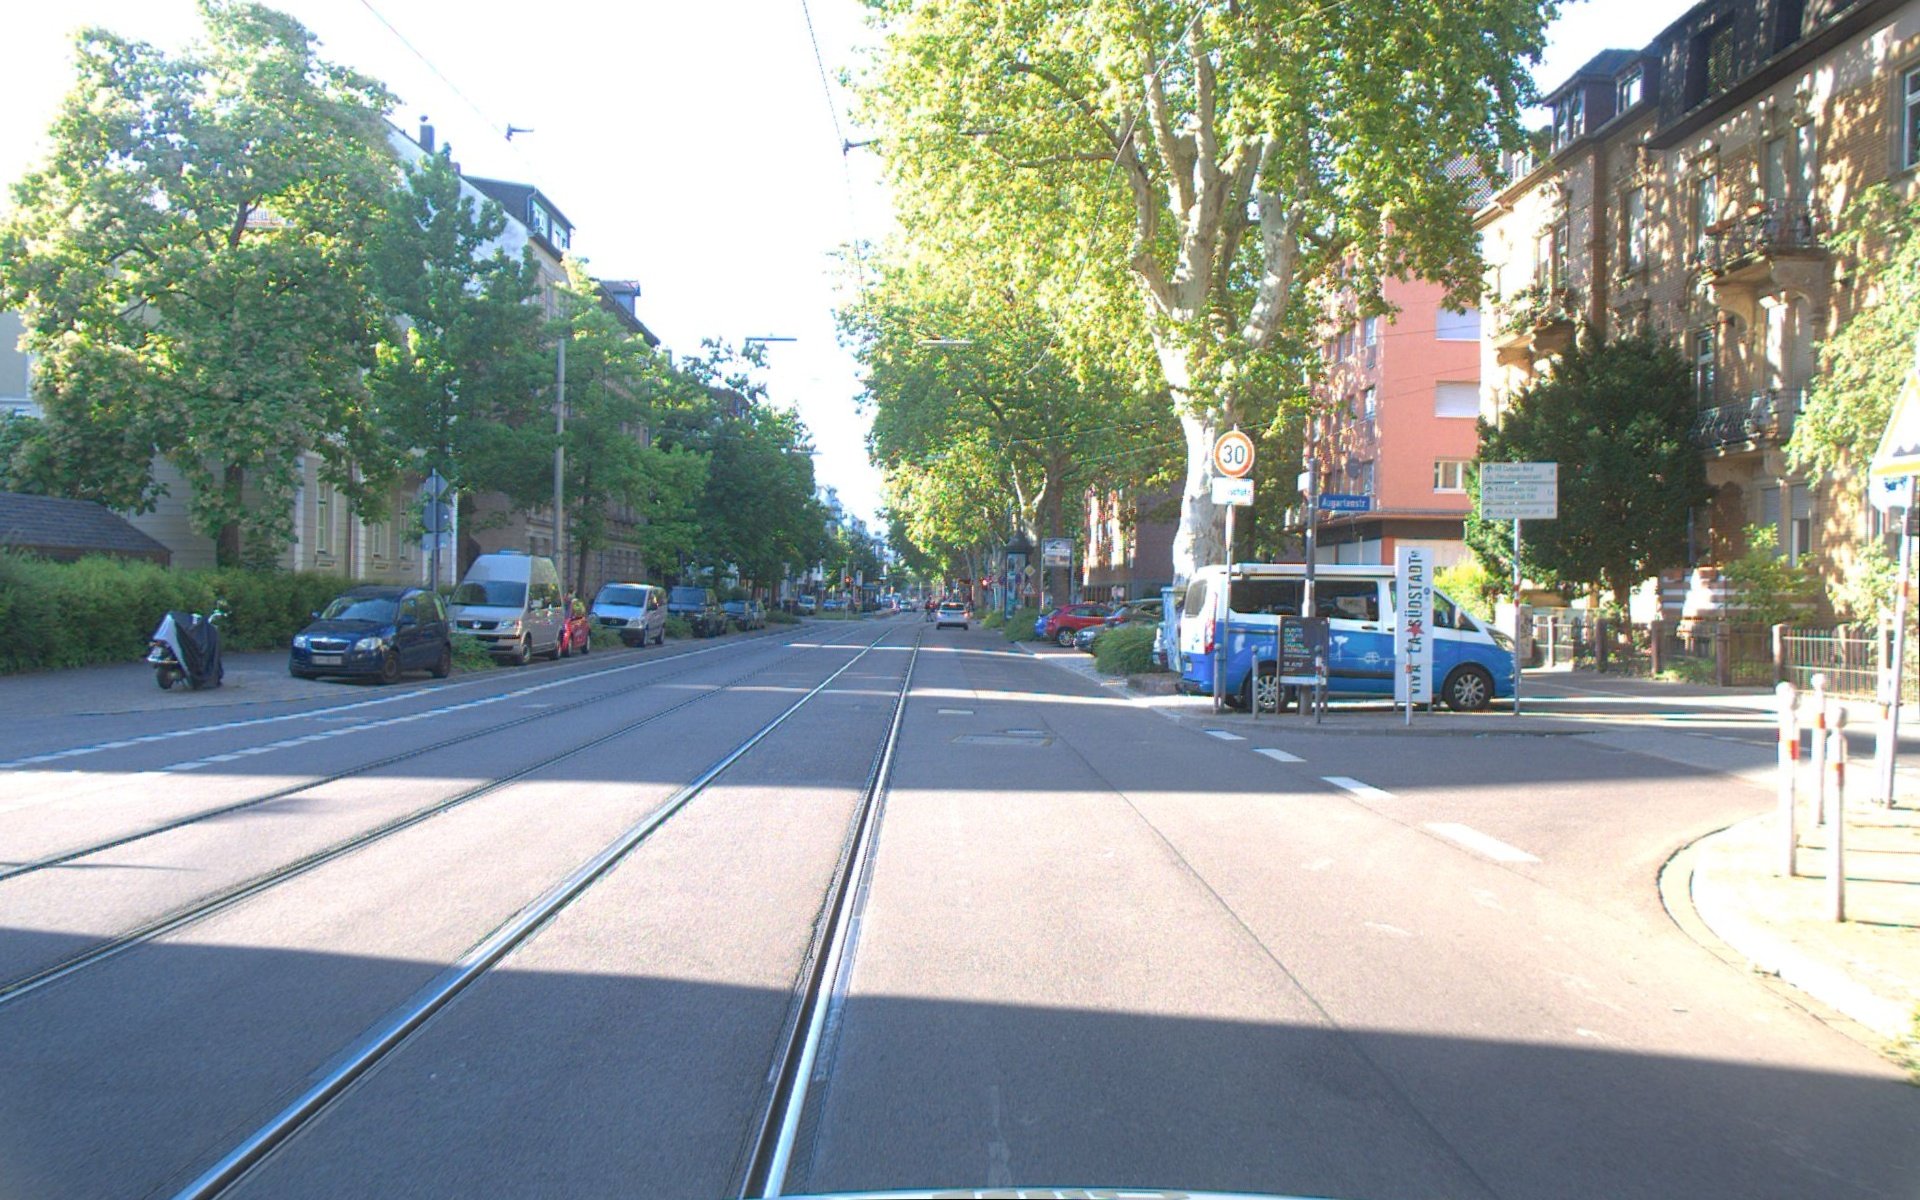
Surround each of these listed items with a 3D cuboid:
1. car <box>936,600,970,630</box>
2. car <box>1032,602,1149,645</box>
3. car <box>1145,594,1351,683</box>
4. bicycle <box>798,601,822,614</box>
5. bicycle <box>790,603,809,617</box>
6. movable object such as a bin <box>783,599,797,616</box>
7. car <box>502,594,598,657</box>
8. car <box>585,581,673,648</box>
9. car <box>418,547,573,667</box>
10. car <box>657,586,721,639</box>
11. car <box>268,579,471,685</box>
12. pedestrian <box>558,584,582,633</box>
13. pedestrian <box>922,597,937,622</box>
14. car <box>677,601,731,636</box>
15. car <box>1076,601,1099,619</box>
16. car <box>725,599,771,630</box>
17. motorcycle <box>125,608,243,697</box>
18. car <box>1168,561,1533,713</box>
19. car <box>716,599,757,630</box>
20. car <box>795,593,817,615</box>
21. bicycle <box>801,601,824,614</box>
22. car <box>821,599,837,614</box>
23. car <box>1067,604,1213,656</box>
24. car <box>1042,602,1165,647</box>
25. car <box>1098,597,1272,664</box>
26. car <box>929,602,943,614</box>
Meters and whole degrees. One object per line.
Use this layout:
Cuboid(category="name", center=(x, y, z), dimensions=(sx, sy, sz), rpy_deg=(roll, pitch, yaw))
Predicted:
Cuboid(category="car", center=(-0.392, 0.772, 88.126), dimensions=(1.752, 1.540, 3.999), rpy_deg=(1, 0, -1))
Cuboid(category="car", center=(4.944, 0.874, 62.378), dimensions=(4.310, 1.570, 1.819), rpy_deg=(1, 0, 6))
Cuboid(category="car", center=(5.674, 0.738, 32.869), dimensions=(3.706, 1.647, 1.789), rpy_deg=(-1, 0, -3))
Cuboid(category="bicycle", center=(-14.550, 0.762, 160.827), dimensions=(2.207, 1.092, 0.636), rpy_deg=(4, 0, 0))
Cuboid(category="bicycle", center=(-13.792, 0.839, 142.049), dimensions=(1.503, 1.093, 0.885), rpy_deg=(4, 0, -2))
Cuboid(category="movable object such as a bin", center=(-14.383, 0.647, 139.964), dimensions=(1.147, 1.372, 0.782), rpy_deg=(4, -1, -6))
Cuboid(category="car", center=(-10.649, 0.627, 43.195), dimensions=(1.651, 1.566, 3.706), rpy_deg=(1, 0, -2))
Cuboid(category="car", center=(-10.579, 0.440, 53.179), dimensions=(1.806, 2.023, 4.987), rpy_deg=(1, 0, 0))
Cuboid(category="car", center=(-10.577, 0.141, 38.131), dimensions=(2.258, 2.552, 5.341), rpy_deg=(1, 0, -3))
Cuboid(category="car", center=(-10.993, 0.484, 67.431), dimensions=(1.953, 2.049, 4.832), rpy_deg=(0, 0, -2))
Cuboid(category="car", center=(-10.291, 0.525, 29.195), dimensions=(1.951, 1.720, 4.262), rpy_deg=(1, 0, 1))
Cuboid(category="pedestrian", center=(-13.727, 0.306, 58.212), dimensions=(0.592, 1.691, 0.947), rpy_deg=(2, 0, 0))
Cuboid(category="pedestrian", center=(-2.226, 0.681, 120.365), dimensions=(0.975, 1.843, 0.863), rpy_deg=(0, 0, -7))
Cuboid(category="car", center=(-11.197, 0.784, 72.594), dimensions=(1.816, 1.484, 4.268), rpy_deg=(0, 0, -2))
Cuboid(category="car", center=(10.922, 0.851, 141.779), dimensions=(1.568, 1.521, 3.415), rpy_deg=(1, 0, -3))
Cuboid(category="car", center=(-11.293, 0.762, 88.368), dimensions=(1.664, 1.577, 4.537), rpy_deg=(1, 0, 2))
Cuboid(category="motorcycle", center=(-11.529, 0.752, 24.657), dimensions=(0.659, 1.159, 2.150), rpy_deg=(3, 2, 1))
Cuboid(category="car", center=(5.615, 0.506, 24.193), dimensions=(4.750, 2.049, 2.192), rpy_deg=(-1, 0, -5))
Cuboid(category="car", center=(-11.190, 0.699, 82.995), dimensions=(1.625, 1.470, 3.948), rpy_deg=(1, 0, -2))
Cuboid(category="car", center=(-14.264, 0.366, 153.367), dimensions=(1.654, 1.974, 3.999), rpy_deg=(1, 0, -1))
Cuboid(category="bicycle", center=(-14.691, 0.754, 164.521), dimensions=(2.207, 1.092, 0.636), rpy_deg=(4, 0, 0))
Cuboid(category="car", center=(-14.681, 0.758, 185.650), dimensions=(1.561, 1.575, 3.999), rpy_deg=(3, 0, -1))
Cuboid(category="car", center=(5.313, 0.875, 49.173), dimensions=(4.115, 1.473, 1.817), rpy_deg=(1, 0, -2))
Cuboid(category="car", center=(5.169, 0.868, 60.099), dimensions=(4.312, 1.570, 1.952), rpy_deg=(1, 0, 1))
Cuboid(category="car", center=(5.689, 0.763, 42.116), dimensions=(4.117, 1.647, 1.877), rpy_deg=(1, 0, -4))
Cuboid(category="car", center=(-3.064, 1.034, 212.302), dimensions=(1.752, 1.540, 3.999), rpy_deg=(1, 0, -1))
